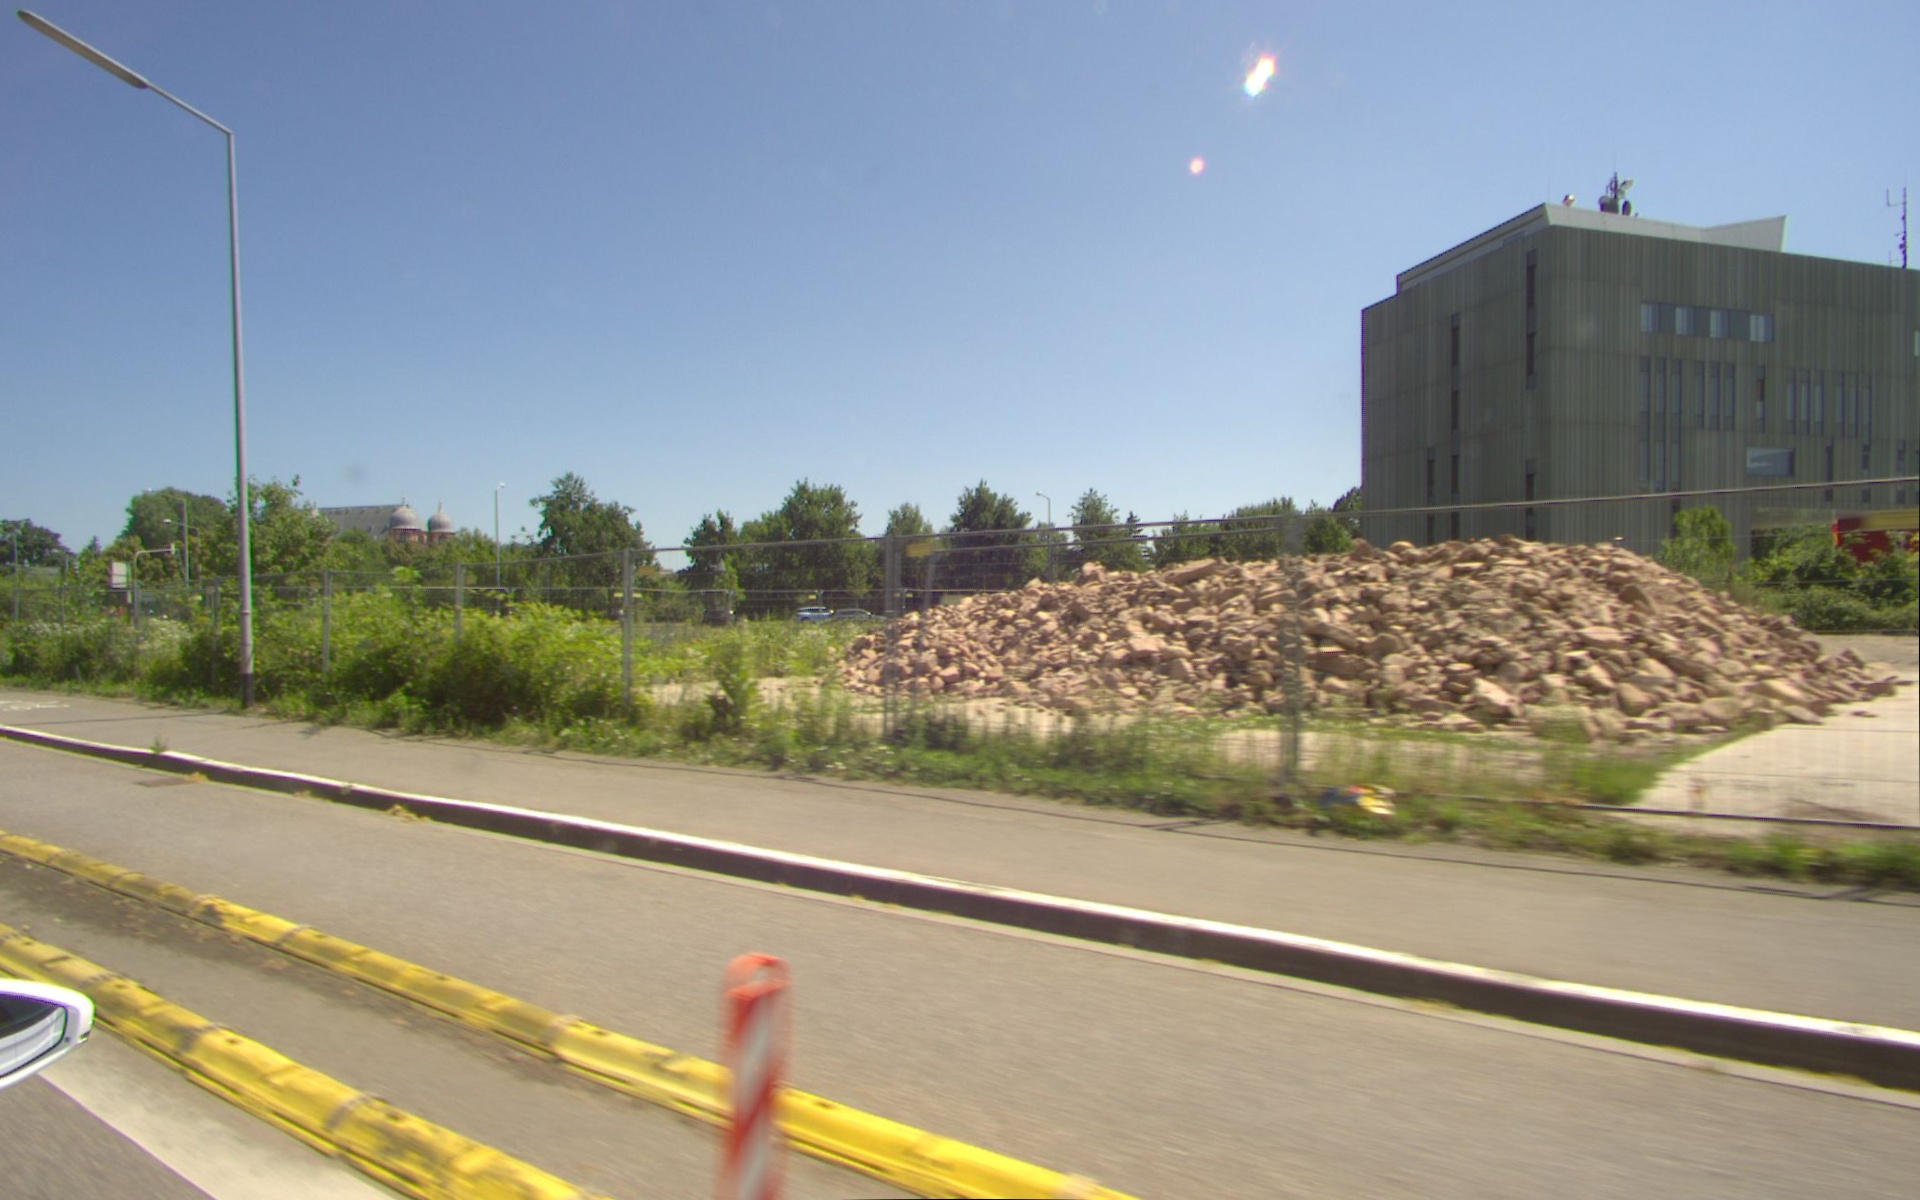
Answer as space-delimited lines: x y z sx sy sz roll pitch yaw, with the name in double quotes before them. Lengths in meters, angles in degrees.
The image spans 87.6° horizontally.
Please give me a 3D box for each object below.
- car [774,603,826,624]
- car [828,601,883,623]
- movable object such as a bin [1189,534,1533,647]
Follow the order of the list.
"car" -12.638 1.023 78.960 3.926 1.606 1.882 -1 0 -12
"car" -7.957 0.879 76.273 3.984 1.639 1.840 0 1 -12
"movable object such as a bin" 13.588 -0.246 34.168 10.315 3.303 4.930 0 0 31
